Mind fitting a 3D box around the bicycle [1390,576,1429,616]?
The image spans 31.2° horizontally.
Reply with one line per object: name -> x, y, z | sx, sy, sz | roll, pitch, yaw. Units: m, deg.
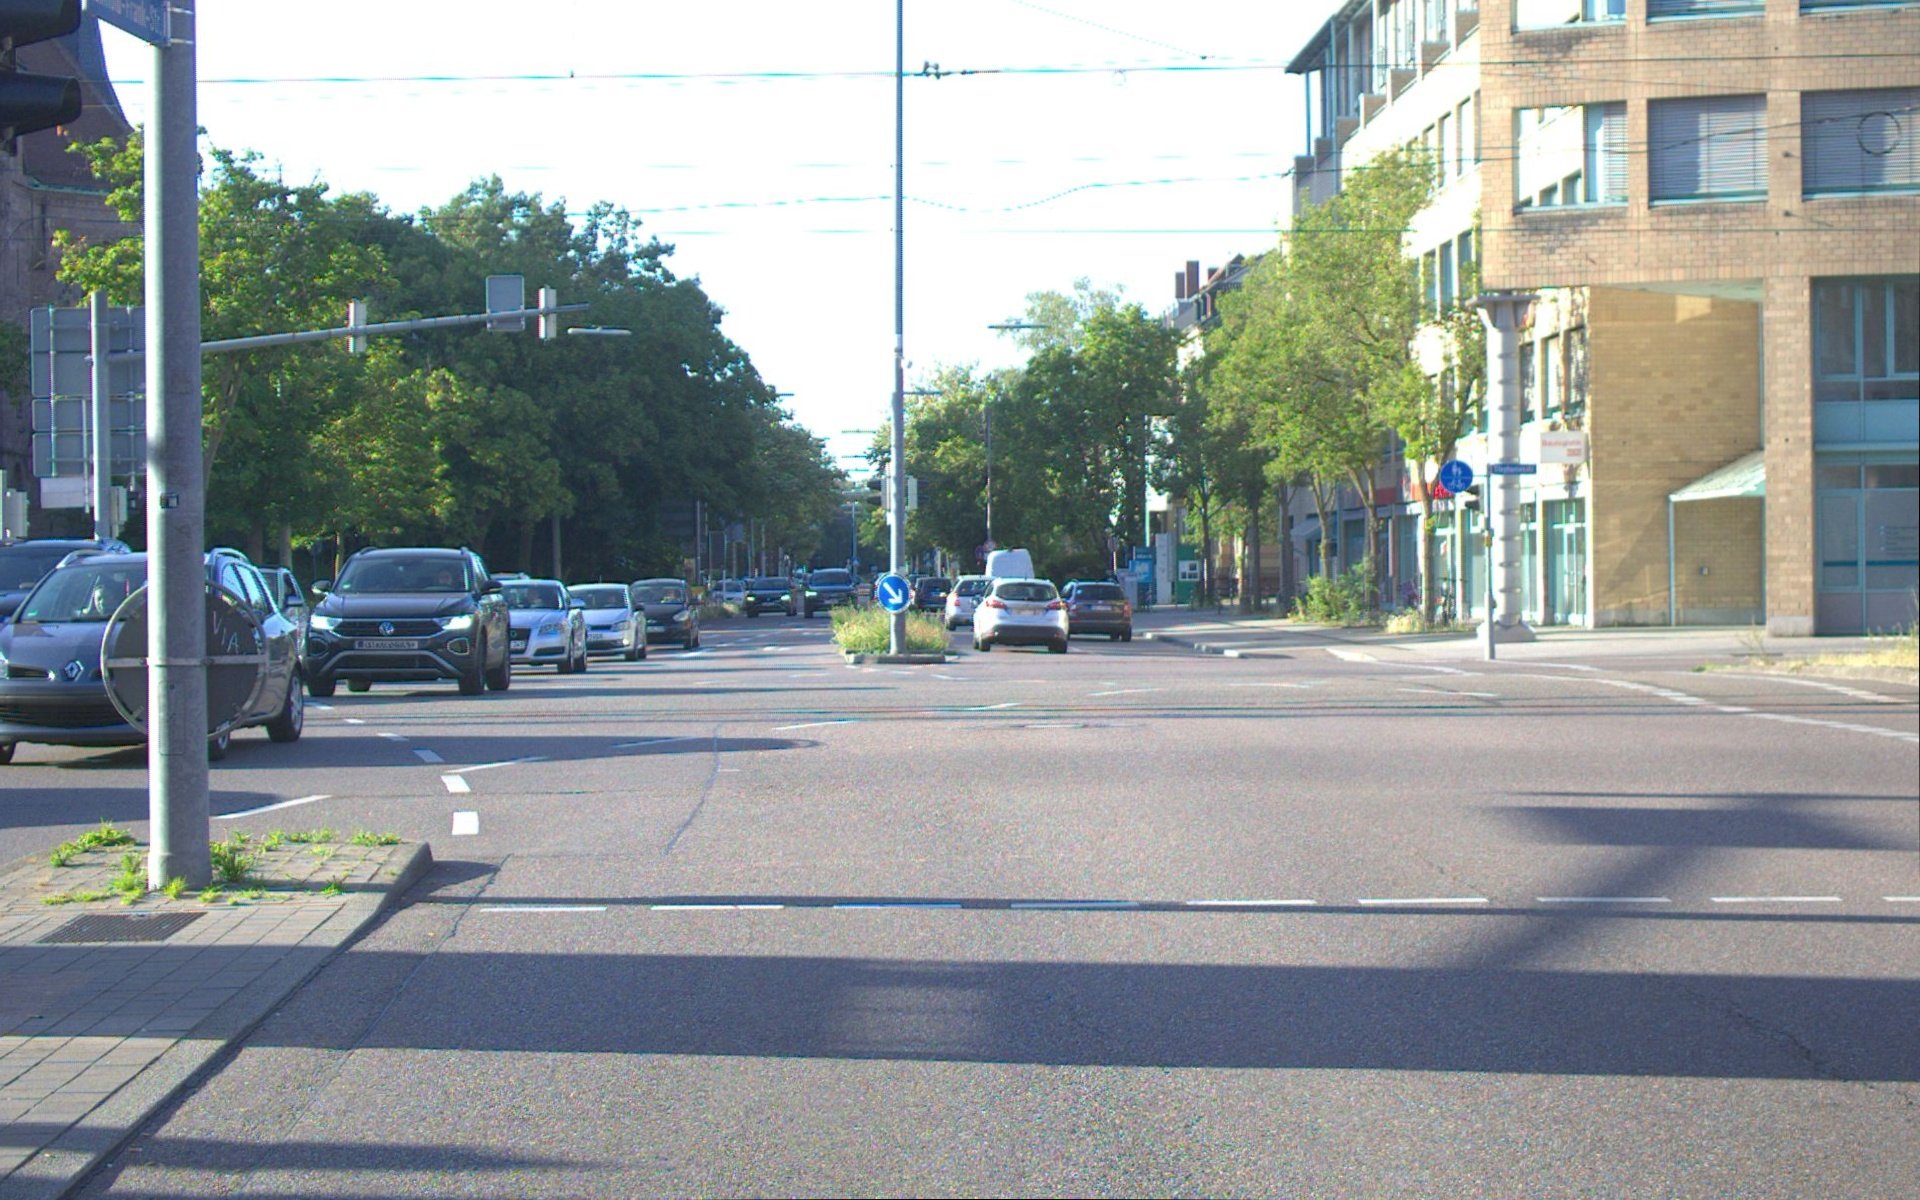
bicycle -> 11.195, -0.110, 85.689 | 0.646, 0.991, 2.081 | 0, 0, -2

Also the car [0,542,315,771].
car -> -5.872, 0.344, 24.736 | 1.592, 1.466, 3.985 | -1, 1, 1

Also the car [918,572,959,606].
car -> -0.863, -0.443, 135.059 | 1.594, 1.263, 3.266 | 0, 1, -1

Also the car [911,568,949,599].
car -> -1.296, -0.728, 147.631 | 1.594, 1.263, 3.266 | 0, 1, -1

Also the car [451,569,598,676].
car -> -6.485, 0.308, 51.517 | 1.708, 1.420, 4.103 | -2, 1, -1

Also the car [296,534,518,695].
car -> -5.791, 0.109, 36.425 | 1.675, 1.539, 4.103 | -2, 1, -1

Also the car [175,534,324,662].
car -> -9.394, -0.050, 45.632 | 1.535, 1.587, 2.809 | -2, 1, -4

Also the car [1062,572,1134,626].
car -> 3.368, -0.027, 84.464 | 1.594, 1.263, 3.266 | 0, 1, -1

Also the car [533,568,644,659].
car -> -6.903, 0.228, 64.173 | 1.675, 1.539, 3.806 | -2, 1, -1

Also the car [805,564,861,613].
car -> -4.600, -0.409, 125.143 | 1.993, 1.718, 5.031 | -1, 0, -2

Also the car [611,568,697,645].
car -> -6.656, 0.127, 75.027 | 1.578, 1.539, 3.477 | -2, 1, -1

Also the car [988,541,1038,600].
car -> 2.231, -1.239, 145.563 | 1.993, 2.432, 4.000 | 1, 1, -1

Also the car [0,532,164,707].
car -> -9.275, 0.163, 34.451 | 1.719, 1.623, 4.103 | -2, 1, -2

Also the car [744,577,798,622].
car -> -7.460, -0.003, 136.152 | 1.993, 1.718, 4.593 | -1, 0, -2

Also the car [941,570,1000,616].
car -> 0.284, -0.207, 97.673 | 1.594, 1.263, 3.266 | 0, 1, -1

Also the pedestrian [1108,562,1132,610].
pedestrian -> 6.110, -0.536, 131.408 | 0.847, 1.797, 0.776 | 0, 1, -1

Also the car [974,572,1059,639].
car -> 1.119, 0.096, 69.207 | 1.594, 1.263, 3.266 | 0, 1, -1

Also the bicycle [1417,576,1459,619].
bicycle -> 11.299, -0.064, 81.242 | 0.646, 0.991, 2.081 | 0, 0, -2
